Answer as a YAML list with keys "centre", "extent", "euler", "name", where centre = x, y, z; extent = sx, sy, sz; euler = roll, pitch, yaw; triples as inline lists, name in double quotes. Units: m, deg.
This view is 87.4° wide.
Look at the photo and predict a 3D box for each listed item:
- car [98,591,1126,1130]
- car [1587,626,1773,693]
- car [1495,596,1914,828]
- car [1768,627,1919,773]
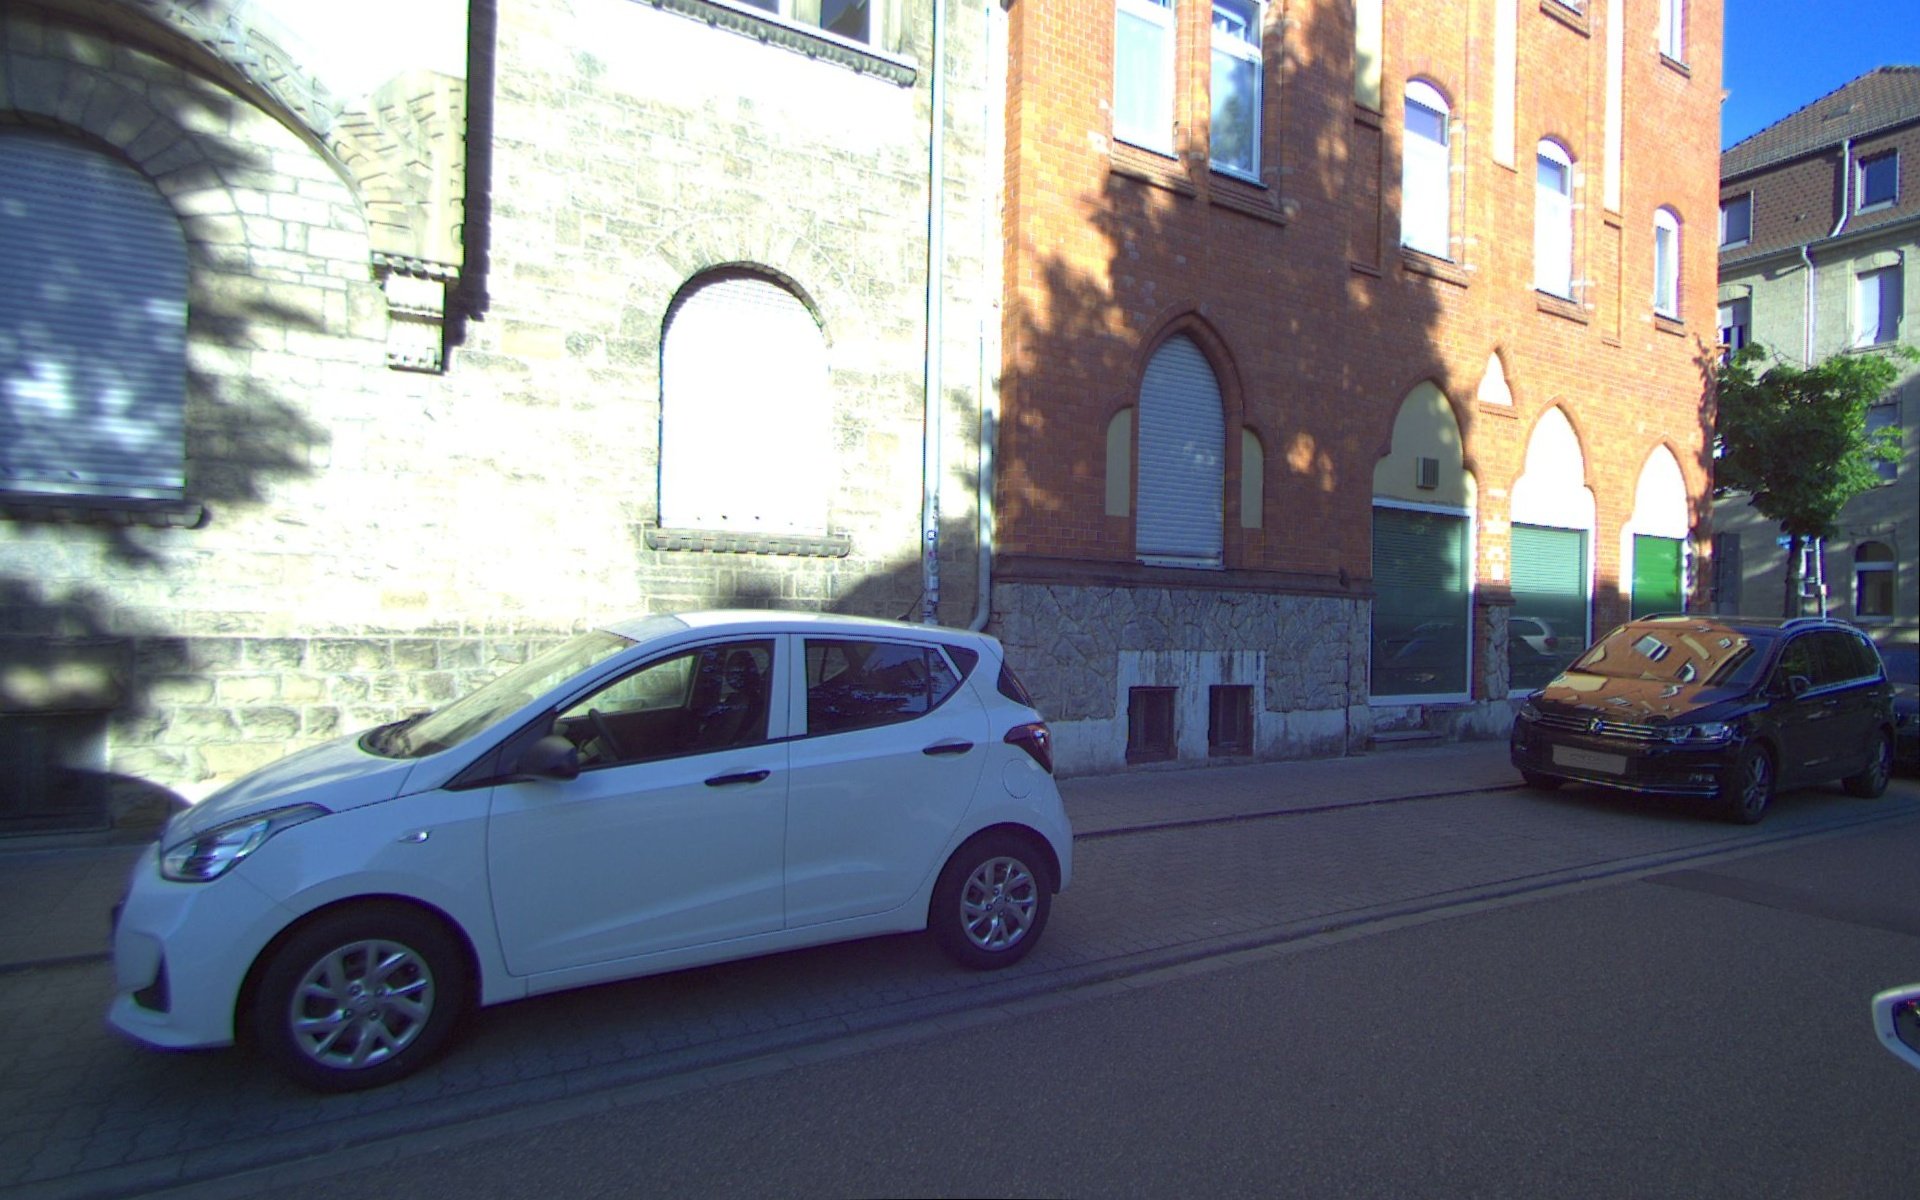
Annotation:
- centre: [-1.190, 0.757, 4.334]
  extent: [3.547, 1.490, 1.560]
  euler: [1, 0, -29]
  name: "car"
- centre: [19.549, 1.558, 27.426]
  extent: [1.699, 1.571, 3.776]
  euler: [-2, 1, -31]
  name: "car"
- centre: [7.010, 0.901, 9.331]
  extent: [4.302, 1.703, 1.660]
  euler: [2, 0, -32]
  name: "car"
- centre: [11.559, 1.126, 11.893]
  extent: [4.282, 1.429, 1.627]
  euler: [2, 1, -30]
  name: "car"
